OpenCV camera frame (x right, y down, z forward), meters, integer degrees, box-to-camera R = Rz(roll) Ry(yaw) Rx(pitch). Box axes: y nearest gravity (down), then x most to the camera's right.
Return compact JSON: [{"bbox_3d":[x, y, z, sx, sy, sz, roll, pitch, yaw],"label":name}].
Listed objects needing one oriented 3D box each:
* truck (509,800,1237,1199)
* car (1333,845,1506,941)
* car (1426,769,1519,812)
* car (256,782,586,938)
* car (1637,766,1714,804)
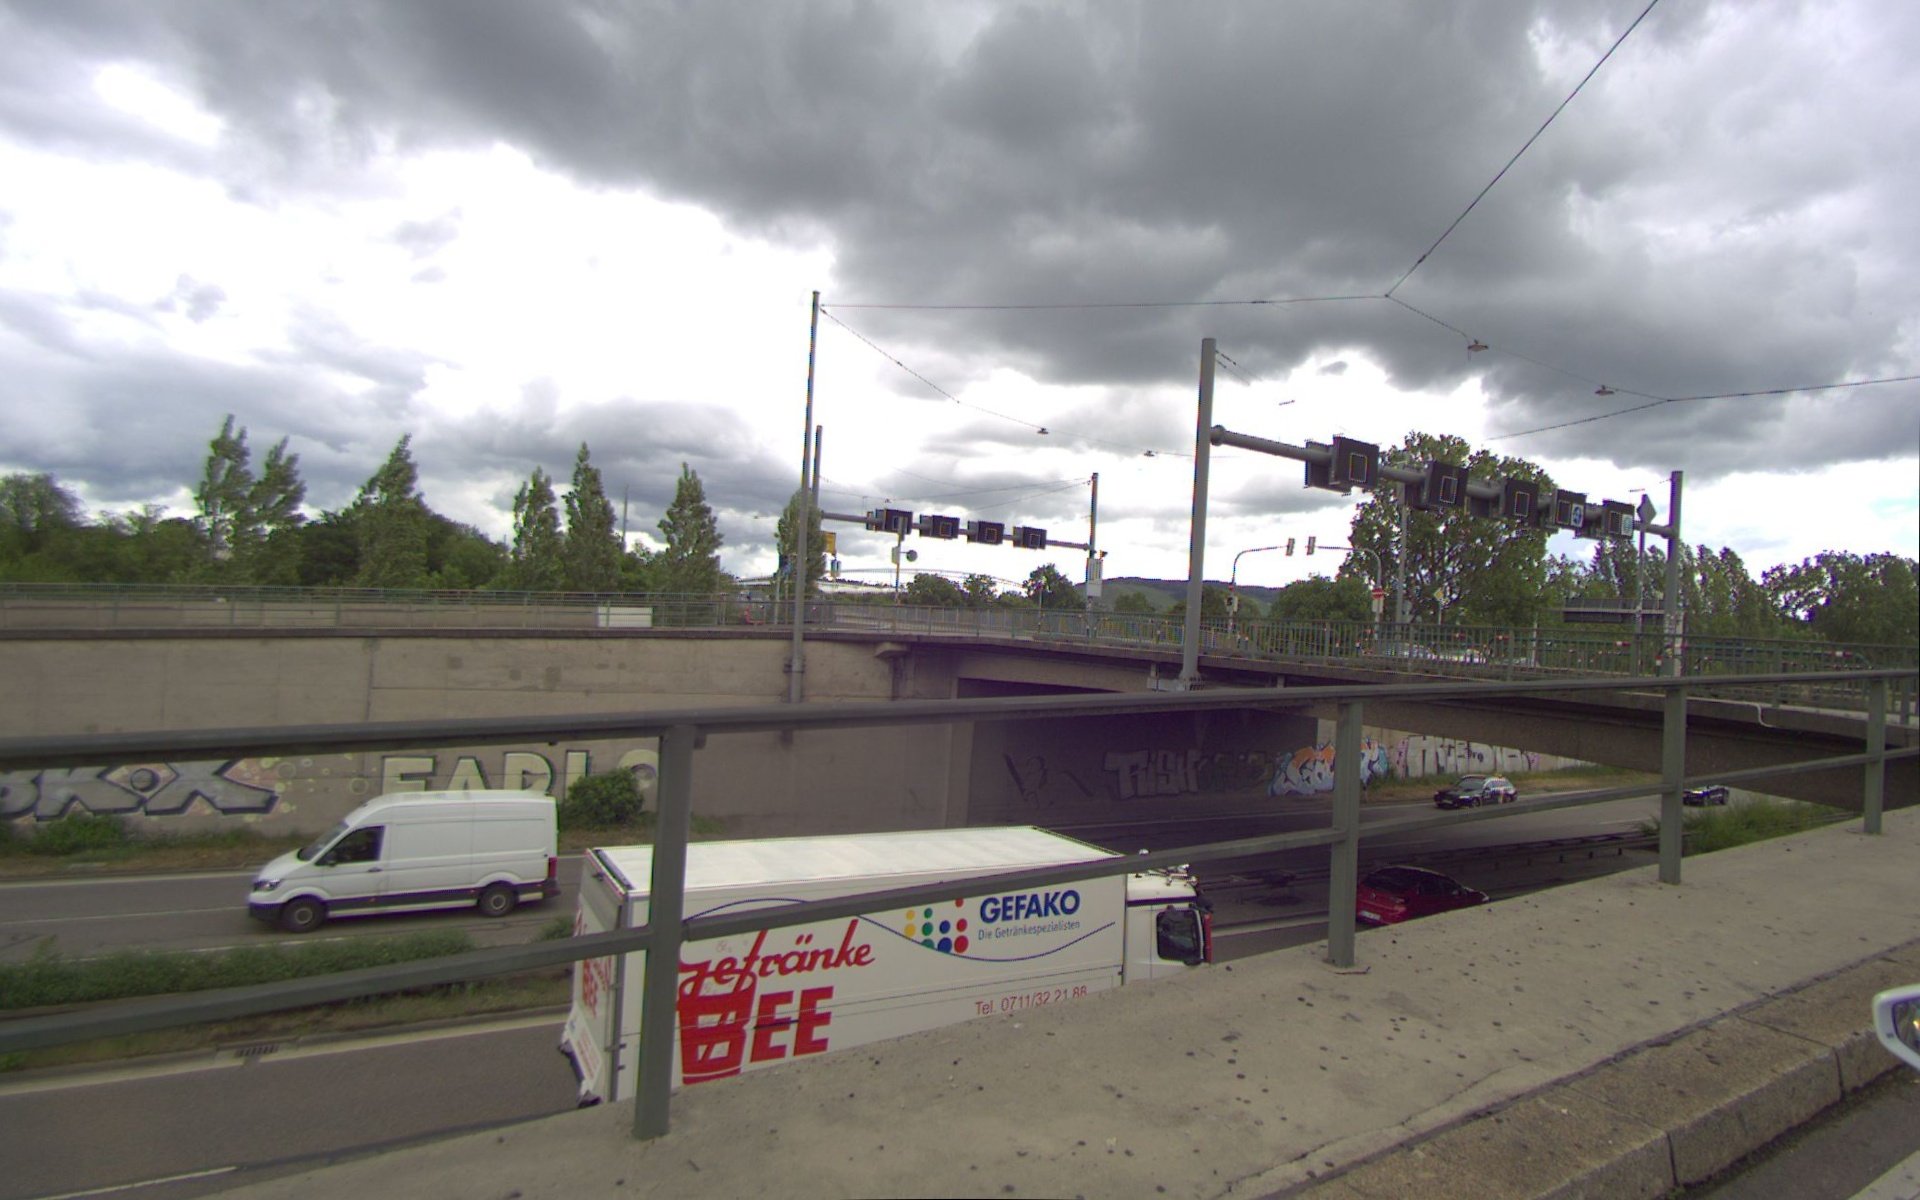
[{"bbox_3d":[-0.755,4.953,14.019,9.757,3.570,2.870,4,-4,-30],"label":"truck"},{"bbox_3d":[11.579,7.280,25.254,4.133,1.599,1.822,4,-2,-29],"label":"car"},{"bbox_3d":[24.837,9.170,48.631,4.581,1.673,1.851,5,-3,-30],"label":"car"},{"bbox_3d":[-11.727,5.573,22.287,6.032,2.628,2.157,5,-3,-30],"label":"car"},{"bbox_3d":[39.086,10.061,54.844,4.134,1.741,1.873,5,-3,-30],"label":"car"}]
